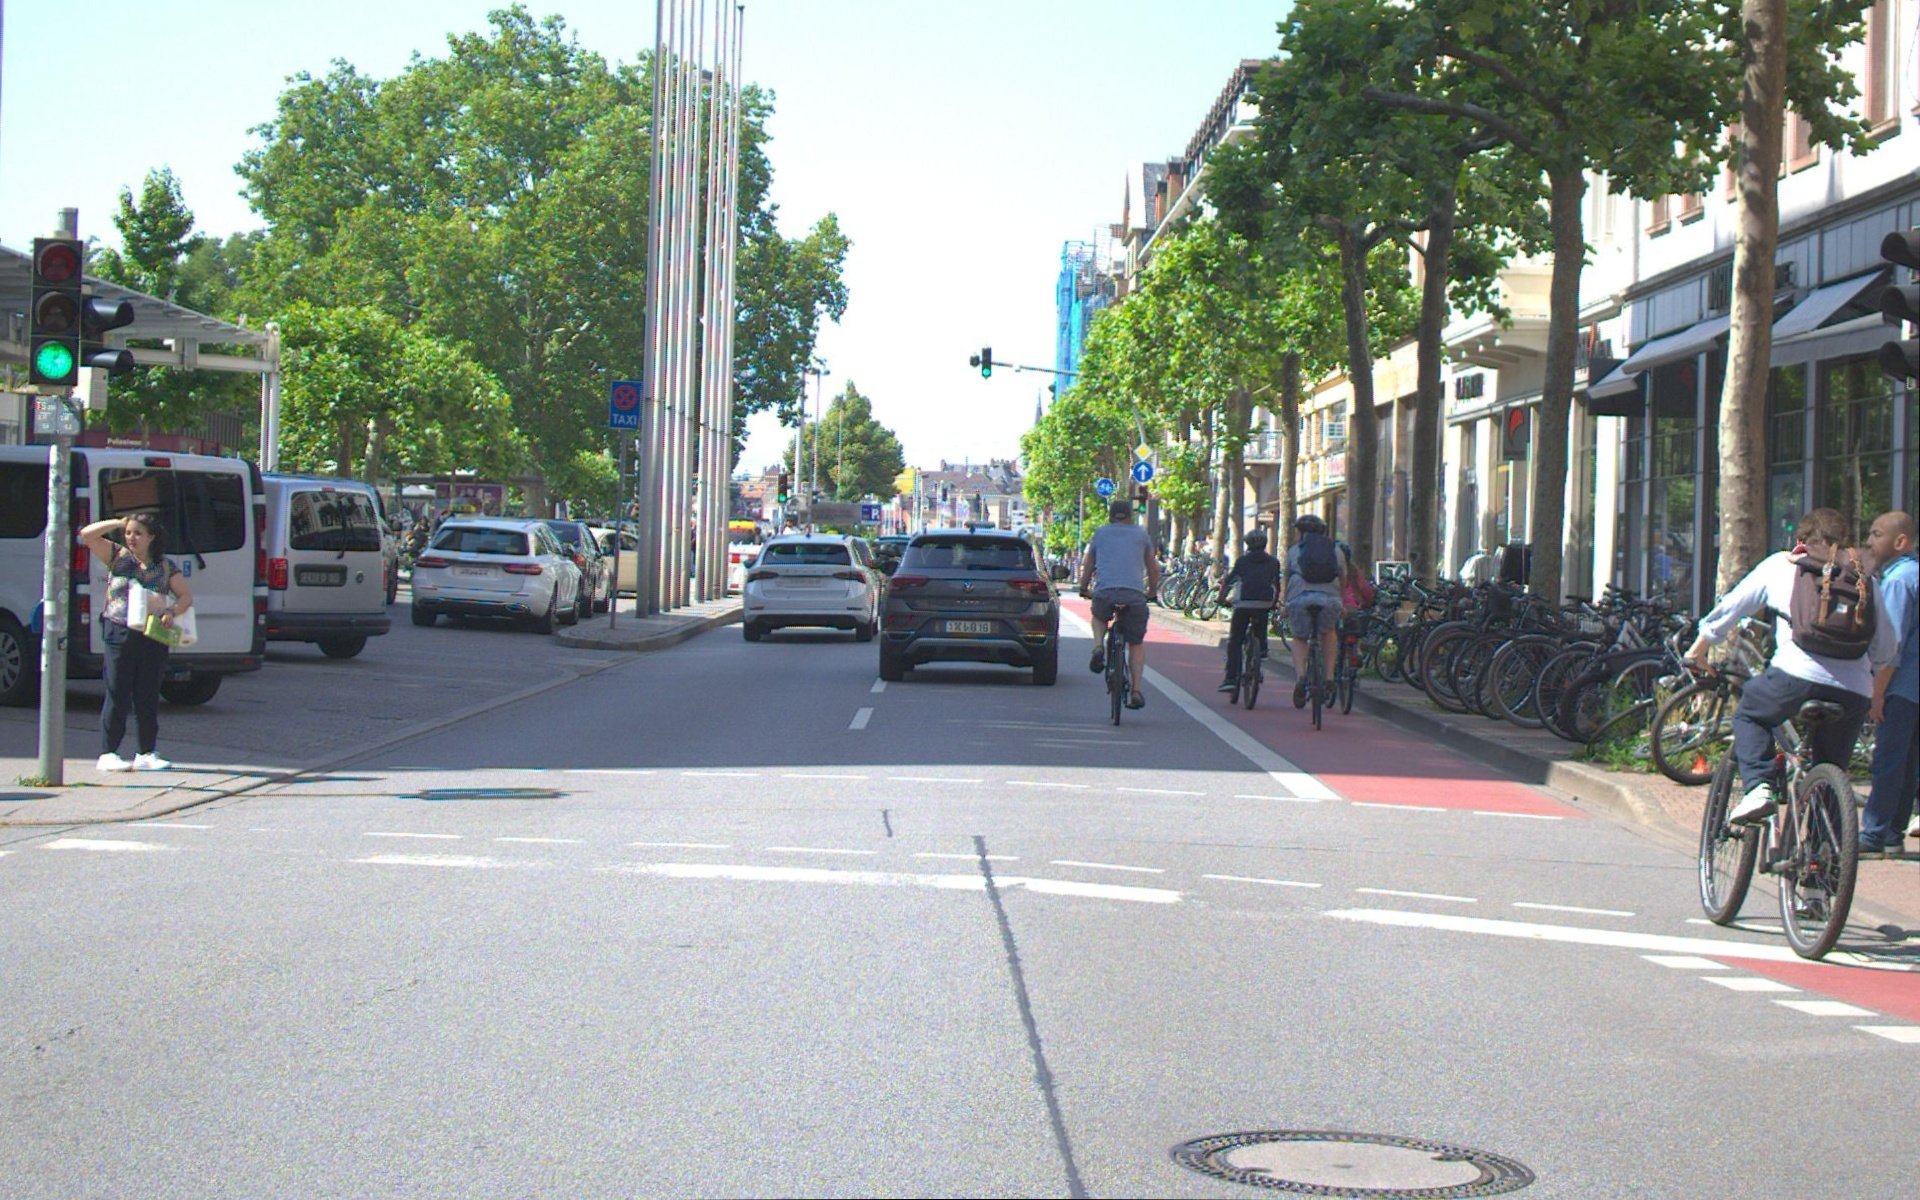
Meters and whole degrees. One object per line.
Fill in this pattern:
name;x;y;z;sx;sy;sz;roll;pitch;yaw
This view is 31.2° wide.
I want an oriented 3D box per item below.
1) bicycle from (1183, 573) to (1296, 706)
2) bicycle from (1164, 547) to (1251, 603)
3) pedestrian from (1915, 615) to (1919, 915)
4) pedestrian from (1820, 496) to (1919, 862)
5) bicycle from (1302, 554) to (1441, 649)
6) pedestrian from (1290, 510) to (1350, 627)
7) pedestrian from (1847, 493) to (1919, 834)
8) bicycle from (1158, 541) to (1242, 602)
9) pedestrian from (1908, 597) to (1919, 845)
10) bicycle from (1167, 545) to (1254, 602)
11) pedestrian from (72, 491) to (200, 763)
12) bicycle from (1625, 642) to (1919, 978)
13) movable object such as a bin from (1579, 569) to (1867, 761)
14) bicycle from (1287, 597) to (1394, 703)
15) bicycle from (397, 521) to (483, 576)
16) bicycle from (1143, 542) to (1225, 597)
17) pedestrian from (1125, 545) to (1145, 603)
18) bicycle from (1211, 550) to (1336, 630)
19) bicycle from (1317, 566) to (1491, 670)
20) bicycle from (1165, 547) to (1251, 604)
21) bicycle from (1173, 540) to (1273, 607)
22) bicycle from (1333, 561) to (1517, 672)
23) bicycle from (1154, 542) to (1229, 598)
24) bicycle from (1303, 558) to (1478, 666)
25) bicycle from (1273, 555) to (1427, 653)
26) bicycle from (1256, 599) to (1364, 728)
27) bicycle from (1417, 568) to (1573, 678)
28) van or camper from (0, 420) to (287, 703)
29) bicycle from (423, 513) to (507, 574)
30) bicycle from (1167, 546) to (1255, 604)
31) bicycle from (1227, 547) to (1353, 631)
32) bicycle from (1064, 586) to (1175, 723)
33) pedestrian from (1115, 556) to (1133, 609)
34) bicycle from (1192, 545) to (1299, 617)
bicycle;2.556;0.347;31.668;0.698;1.123;2.082;3;1;-3
bicycle;5.120;-0.521;71.160;1.728;1.105;0.402;2;1;3
pedestrian;4.602;0.545;14.909;0.639;1.703;0.790;1;-1;-3
pedestrian;4.660;0.384;17.182;0.452;1.789;0.608;3;1;-2
bicycle;5.524;0.021;46.122;1.774;1.193;0.578;2;1;-27
pedestrian;5.389;-0.480;51.483;0.639;1.683;0.843;4;2;-2
pedestrian;5.294;0.342;18.447;0.787;1.789;0.641;3;1;-2
bicycle;5.067;-0.599;72.665;1.728;1.213;0.477;2;1;3
pedestrian;5.407;0.447;17.682;0.787;1.684;0.641;2;1;-2
bicycle;5.145;-0.542;70.745;1.728;1.105;0.402;2;1;3
pedestrian;-4.886;0.152;20.417;0.639;1.554;0.681;3;1;-12
bicycle;3.242;0.778;13.470;0.698;1.123;2.082;3;1;-3
movable object such as a bin;5.315;0.436;23.945;1.852;1.184;0.652;4;1;16
bicycle;3.478;0.442;31.570;0.600;0.922;2.088;-2;0;-4
bicycle;-11.344;-1.126;75.027;1.781;1.128;0.563;2;1;-2
bicycle;5.175;-0.713;79.610;1.844;1.197;0.608;2;1;3
pedestrian;4.976;-0.735;97.676;0.549;1.625;0.589;1;0;3
bicycle;4.879;-0.158;53.553;1.841;1.123;0.497;3;1;11
bicycle;5.101;0.208;39.508;1.839;1.089;0.565;3;1;-10
bicycle;5.155;-0.511;71.579;1.728;1.105;0.477;2;1;3
bicycle;5.227;-0.532;68.410;1.931;1.244;0.736;2;1;3
bicycle;5.242;0.183;38.765;1.839;1.123;0.766;4;-1;-13
bicycle;5.247;-0.686;77.885;1.649;1.197;0.474;2;1;3
bicycle;5.004;0.134;40.007;1.839;1.123;0.632;4;0;-10
bicycle;5.044;0.052;44.461;1.839;1.123;0.497;4;2;-8
bicycle;2.865;0.504;28.319;0.630;0.976;2.089;2;1;-1
bicycle;5.666;0.248;36.383;1.840;1.123;0.448;1;0;-37
van or camper;-7.594;-0.401;26.889;4.657;2.006;1.995;5;2;39
bicycle;-11.207;-1.276;77.816;1.781;1.304;0.663;2;1;-2
bicycle;5.093;-0.519;69.893;1.728;1.105;0.736;2;1;3
bicycle;5.045;-0.174;52.485;1.840;1.193;0.673;3;1;8
bicycle;1.271;0.417;27.838;0.774;1.002;2.329;1;1;0
pedestrian;4.777;-0.516;100.052;0.523;1.516;0.641;1;0;3
bicycle;5.091;-0.341;61.314;1.840;1.182;0.670;3;1;5
